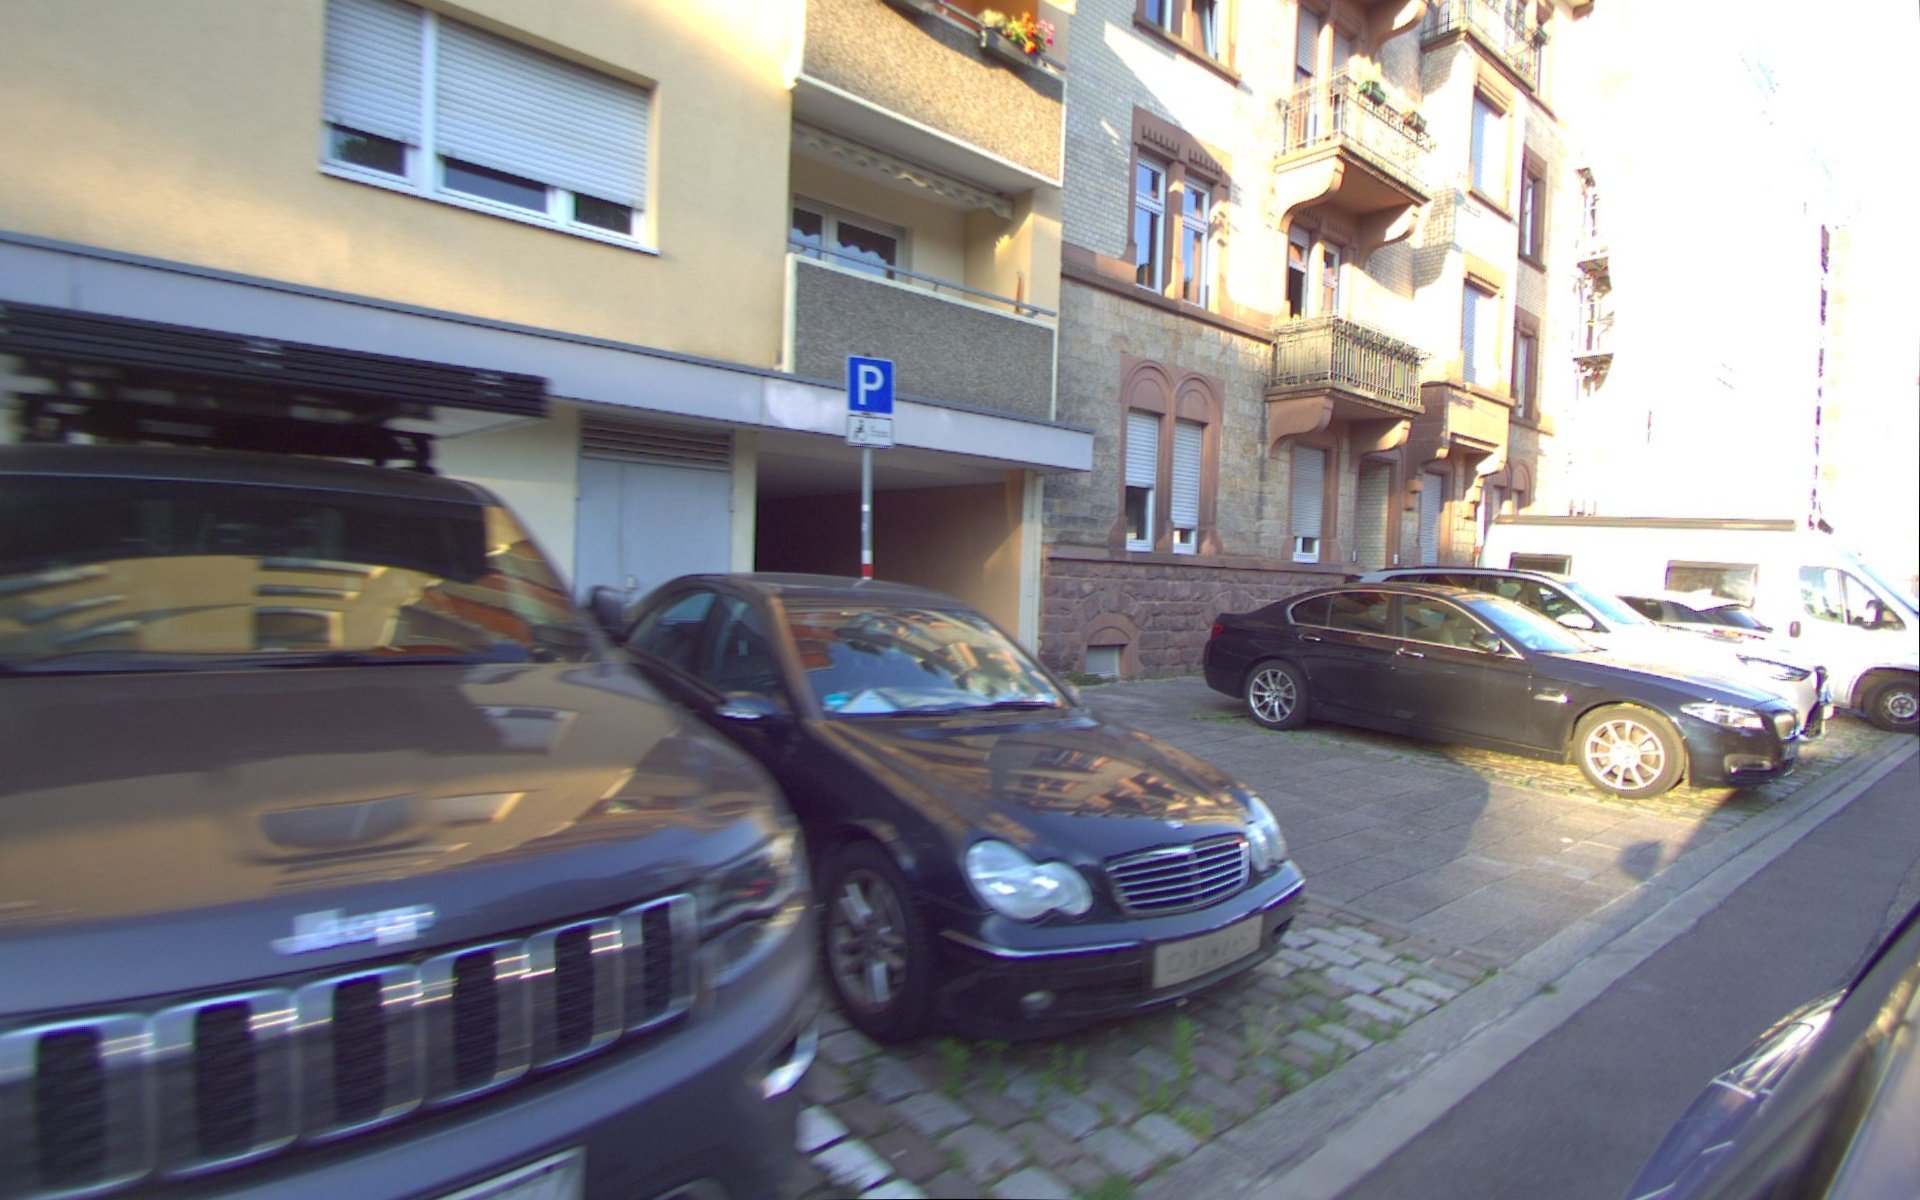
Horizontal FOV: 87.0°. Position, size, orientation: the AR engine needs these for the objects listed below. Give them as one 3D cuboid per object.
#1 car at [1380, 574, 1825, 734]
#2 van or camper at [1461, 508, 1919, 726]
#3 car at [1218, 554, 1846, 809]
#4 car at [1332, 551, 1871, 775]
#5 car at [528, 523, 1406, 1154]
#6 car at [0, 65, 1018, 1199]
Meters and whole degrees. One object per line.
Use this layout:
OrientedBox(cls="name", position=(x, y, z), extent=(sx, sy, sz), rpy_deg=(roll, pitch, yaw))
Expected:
OrientedBox(cls="car", position=(7.903, 0.522, 12.847), extent=(1.812, 1.639, 4.414), rpy_deg=(1, 1, -39))
OrientedBox(cls="van or camper", position=(10.565, 0.064, 14.049), extent=(2.014, 2.534, 6.075), rpy_deg=(1, 3, -40))
OrientedBox(cls="car", position=(4.698, 0.491, 8.928), extent=(1.813, 1.573, 4.414), rpy_deg=(3, 2, -40))
OrientedBox(cls="car", position=(6.476, 0.447, 10.680), extent=(1.813, 1.769, 4.414), rpy_deg=(0, 3, -40))
OrientedBox(cls="car", position=(-0.492, 0.446, 4.803), extent=(1.812, 1.572, 4.417), rpy_deg=(-1, 4, -38))
OrientedBox(cls="car", position=(-2.077, 0.332, 2.889), extent=(1.813, 1.885, 4.523), rpy_deg=(1, 3, -40))
